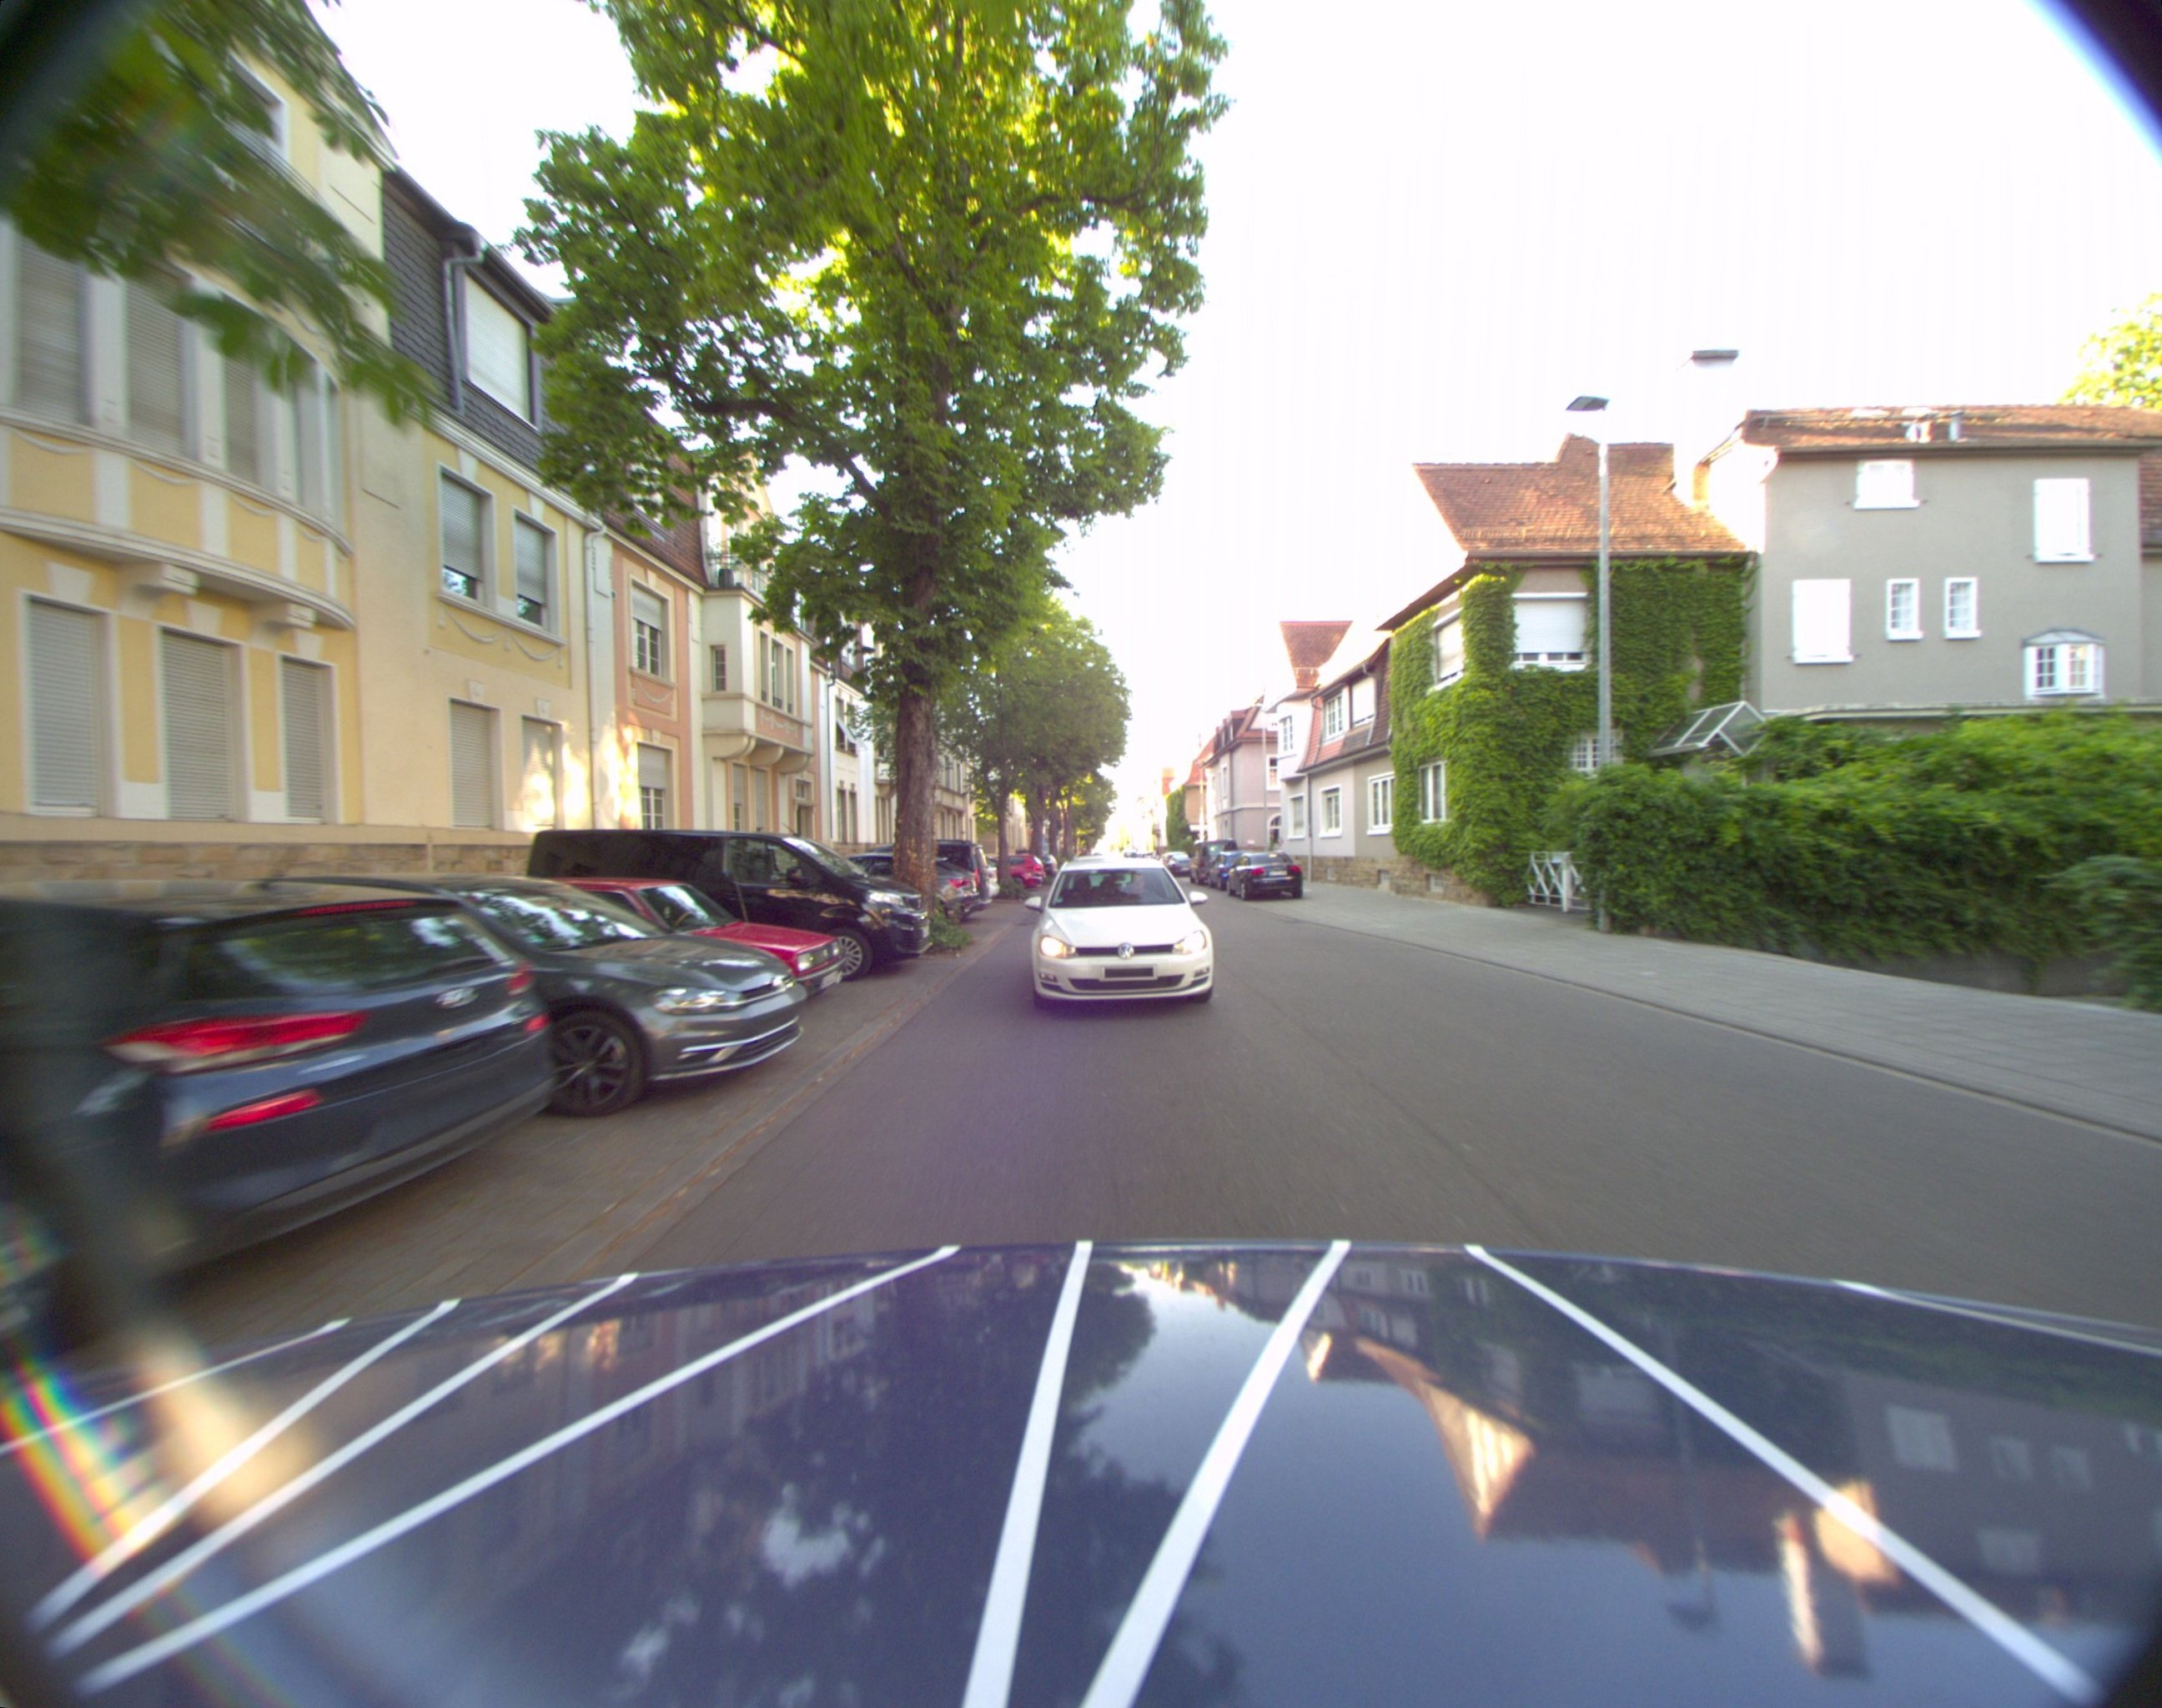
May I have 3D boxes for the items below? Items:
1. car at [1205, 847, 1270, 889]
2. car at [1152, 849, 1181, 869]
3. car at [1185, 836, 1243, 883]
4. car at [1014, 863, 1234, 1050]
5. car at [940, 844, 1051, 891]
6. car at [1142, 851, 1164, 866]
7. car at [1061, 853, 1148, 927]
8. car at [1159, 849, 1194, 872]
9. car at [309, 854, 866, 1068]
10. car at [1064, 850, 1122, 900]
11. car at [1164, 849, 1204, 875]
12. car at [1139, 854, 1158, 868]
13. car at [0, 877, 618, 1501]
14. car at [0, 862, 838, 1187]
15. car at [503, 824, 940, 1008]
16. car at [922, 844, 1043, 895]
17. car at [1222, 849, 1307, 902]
[{"bbox_3d":[5.989,0.512,29.530,1.692,1.445,4.000,-3,0,1],"label":"car"},{"bbox_3d":[6.697,0.364,59.960,1.821,1.419,4.288,-3,0,1],"label":"car"},{"bbox_3d":[5.953,0.220,34.473,1.821,1.895,4.288,-3,0,1],"label":"car"},{"bbox_3d":[0.402,0.912,8.609,1.843,1.442,4.110,-2,1,1],"label":"car"},{"bbox_3d":[-3.765,0.589,34.135,4.709,1.863,1.999,-2,1,-1],"label":"car"},{"bbox_3d":[7.303,0.476,77.595,1.821,1.419,4.288,-3,0,1],"label":"car"},{"bbox_3d":[0.540,0.779,18.699,1.843,1.509,4.022,-2,1,1],"label":"car"},{"bbox_3d":[6.448,0.417,51.768,1.821,1.419,4.288,-3,0,1],"label":"car"},{"bbox_3d":[-4.589,0.939,7.654,4.208,1.678,1.999,-2,1,-1],"label":"car"},{"bbox_3d":[0.426,0.674,27.122,1.843,1.509,4.753,-2,1,1],"label":"car"},{"bbox_3d":[6.172,0.449,46.091,1.821,1.419,4.288,-3,0,1],"label":"car"},{"bbox_3d":[7.509,0.812,84.895,1.821,1.419,4.288,-3,0,1],"label":"car"},{"bbox_3d":[-4.610,1.029,3.042,4.208,1.619,1.973,-2,1,-1],"label":"car"},{"bbox_3d":[-4.140,0.966,5.239,4.208,1.598,1.999,-2,1,-1],"label":"car"},{"bbox_3d":[-4.438,0.724,10.030,4.709,2.002,1.999,-2,1,-1],"label":"car"},{"bbox_3d":[-4.006,0.611,31.486,4.709,1.863,1.999,-2,1,-1],"label":"car"},{"bbox_3d":[5.617,0.596,23.708,1.692,1.445,4.000,-3,0,1],"label":"car"}]
